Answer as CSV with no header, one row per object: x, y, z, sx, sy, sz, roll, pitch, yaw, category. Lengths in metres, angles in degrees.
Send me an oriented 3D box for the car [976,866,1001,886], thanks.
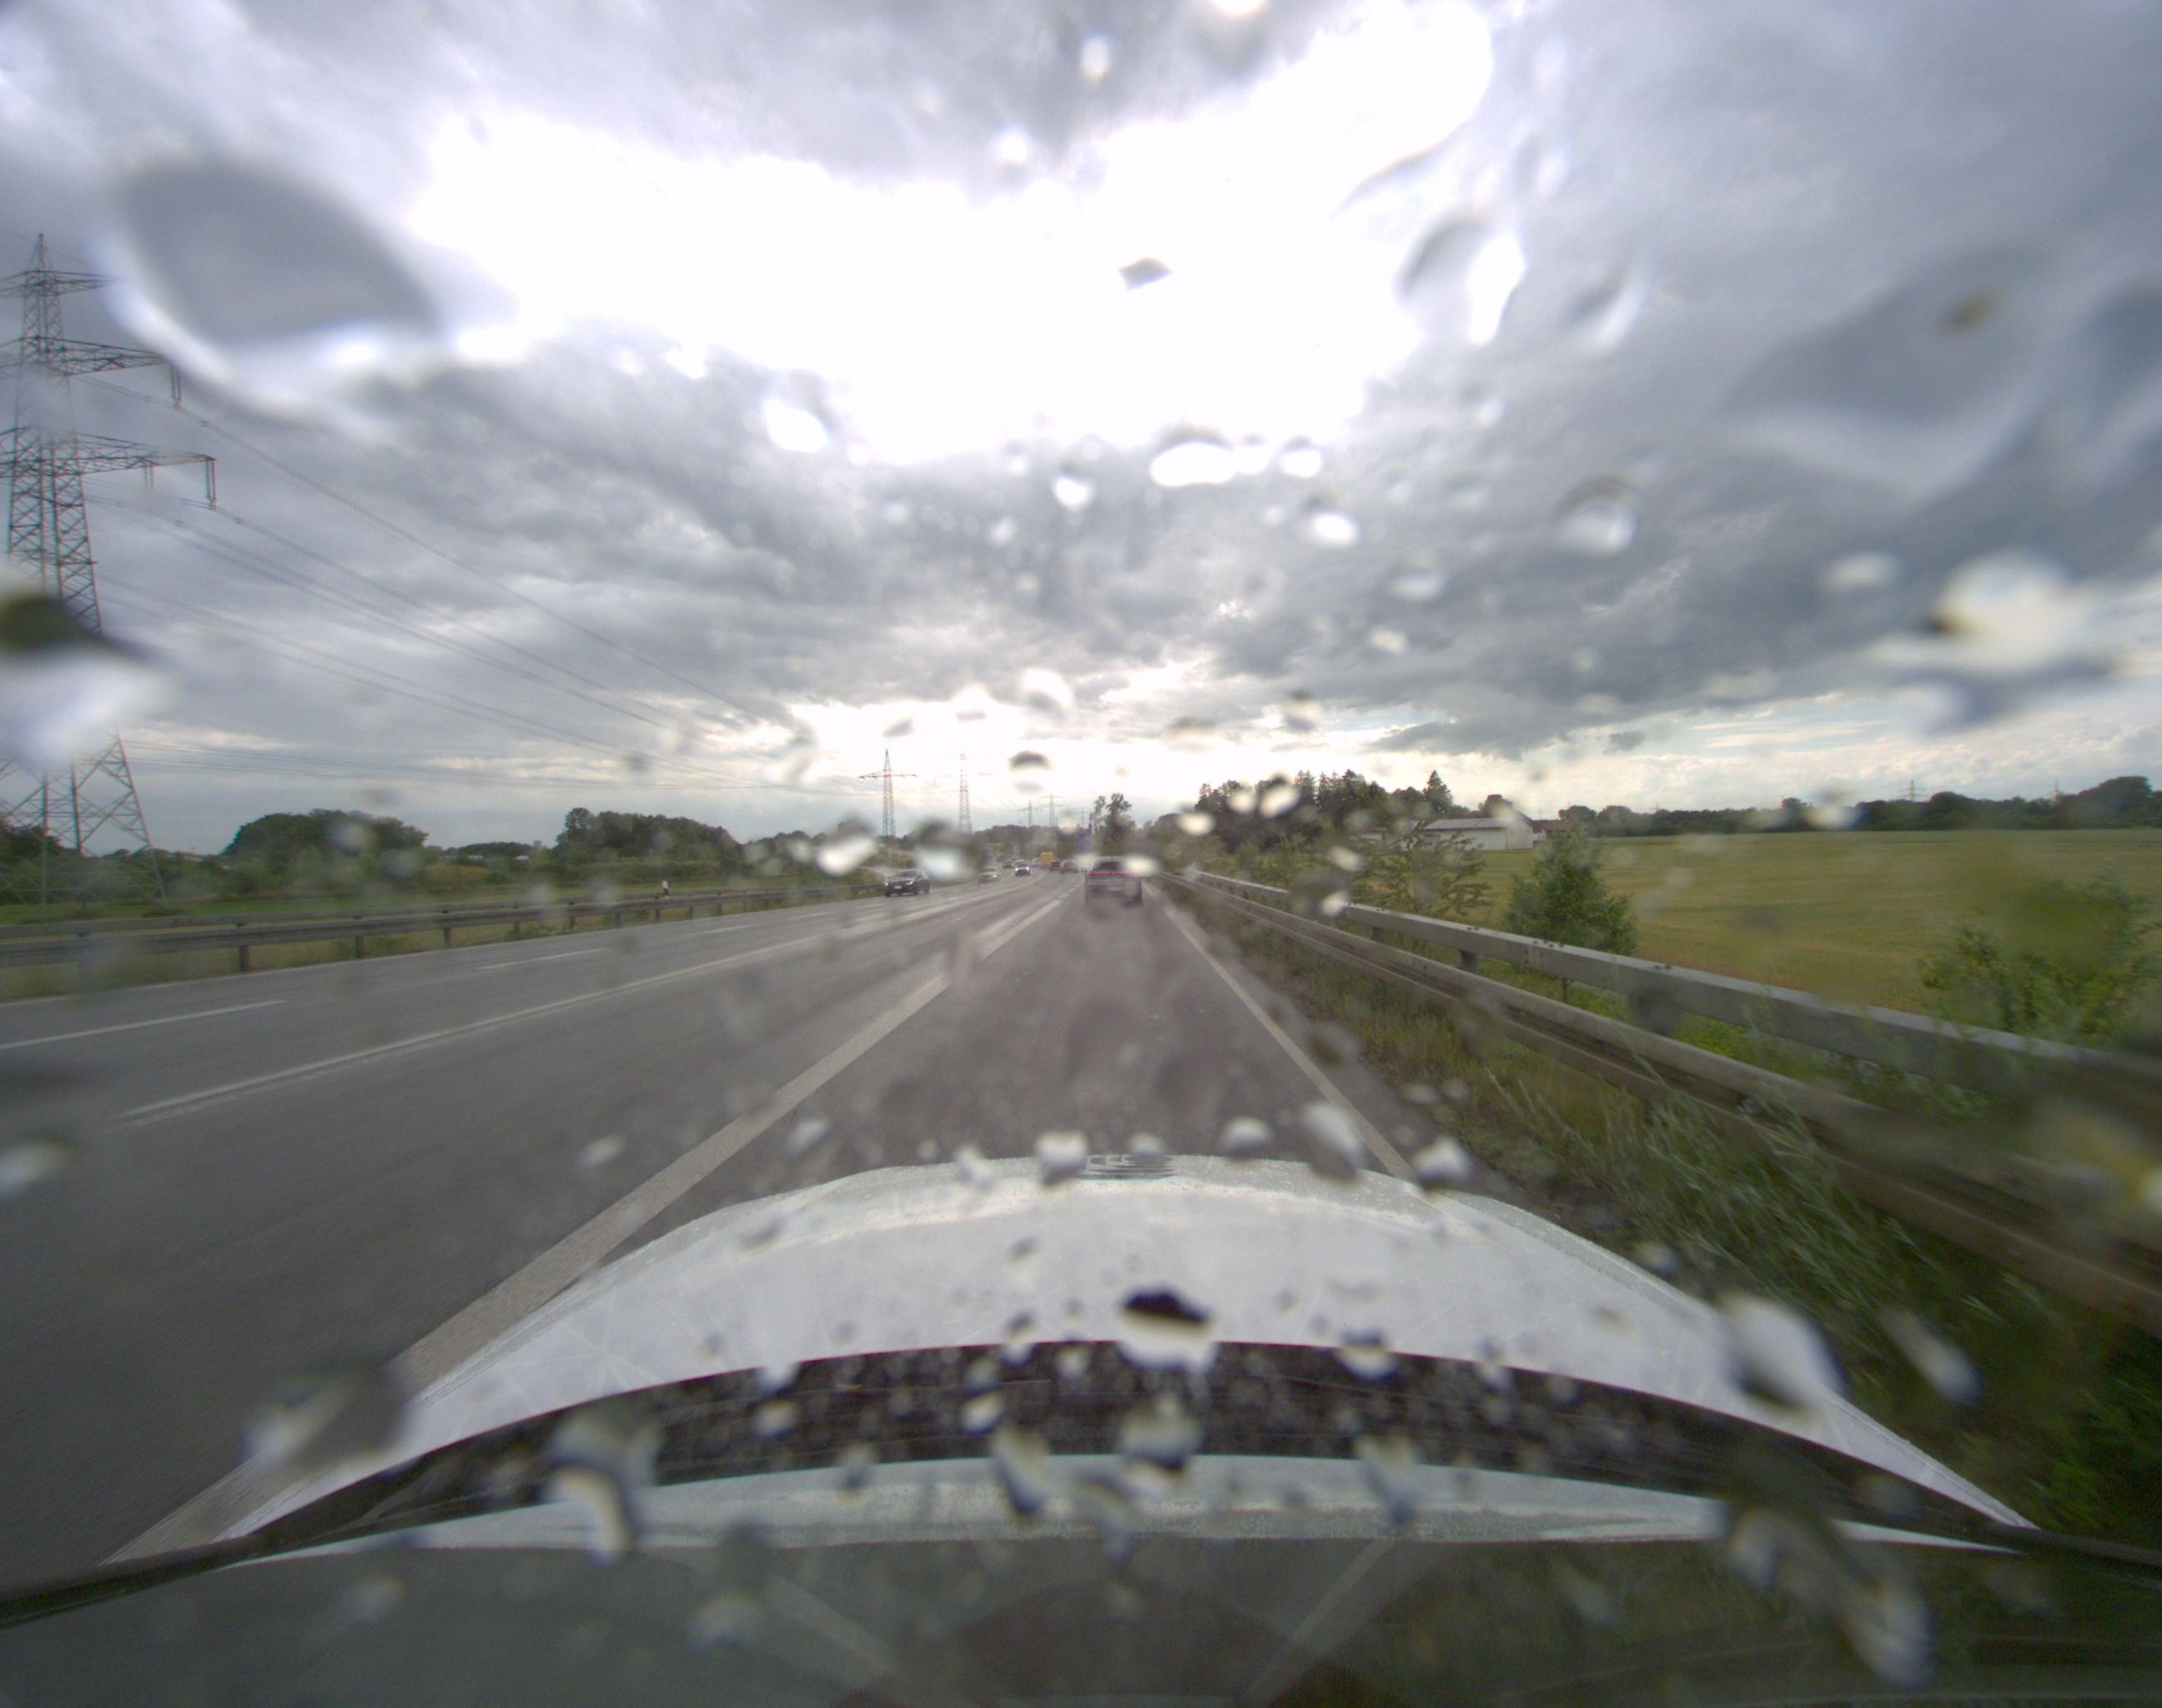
-8.671,2.051,76.731,1.938,1.660,4.642,-3,0,-2,car

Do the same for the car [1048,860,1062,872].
-3.456,1.508,106.753,1.787,1.541,3.997,0,-1,-2,car

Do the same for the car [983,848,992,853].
-25.661,-0.961,222.873,1.795,1.441,3.979,-1,1,-15,car

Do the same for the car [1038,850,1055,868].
-5.470,0.786,127.969,2.568,2.725,7.185,0,-1,-4,car

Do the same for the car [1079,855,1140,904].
0.924,0.774,26.419,1.784,1.441,4.002,-1,-1,2,car

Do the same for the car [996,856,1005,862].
-20.042,1.172,202.893,1.793,1.441,3.984,0,-1,-12,car

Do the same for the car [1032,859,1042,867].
-8.032,1.566,148.713,1.789,1.441,3.992,0,-1,-6,car

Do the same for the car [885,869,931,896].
-9.802,1.573,46.460,1.765,1.426,4.731,0,0,-1,car

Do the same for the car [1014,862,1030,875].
-7.067,1.762,98.215,1.762,1.500,4.206,-3,-1,-2,car

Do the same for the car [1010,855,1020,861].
-16.727,0.923,205.526,1.795,1.441,3.977,0,-1,-17,car

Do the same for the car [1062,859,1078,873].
-1.246,1.324,90.983,1.786,1.441,3.997,0,-1,-2,car

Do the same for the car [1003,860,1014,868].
-13.612,1.927,152.889,1.894,1.441,4.888,0,0,-7,car
